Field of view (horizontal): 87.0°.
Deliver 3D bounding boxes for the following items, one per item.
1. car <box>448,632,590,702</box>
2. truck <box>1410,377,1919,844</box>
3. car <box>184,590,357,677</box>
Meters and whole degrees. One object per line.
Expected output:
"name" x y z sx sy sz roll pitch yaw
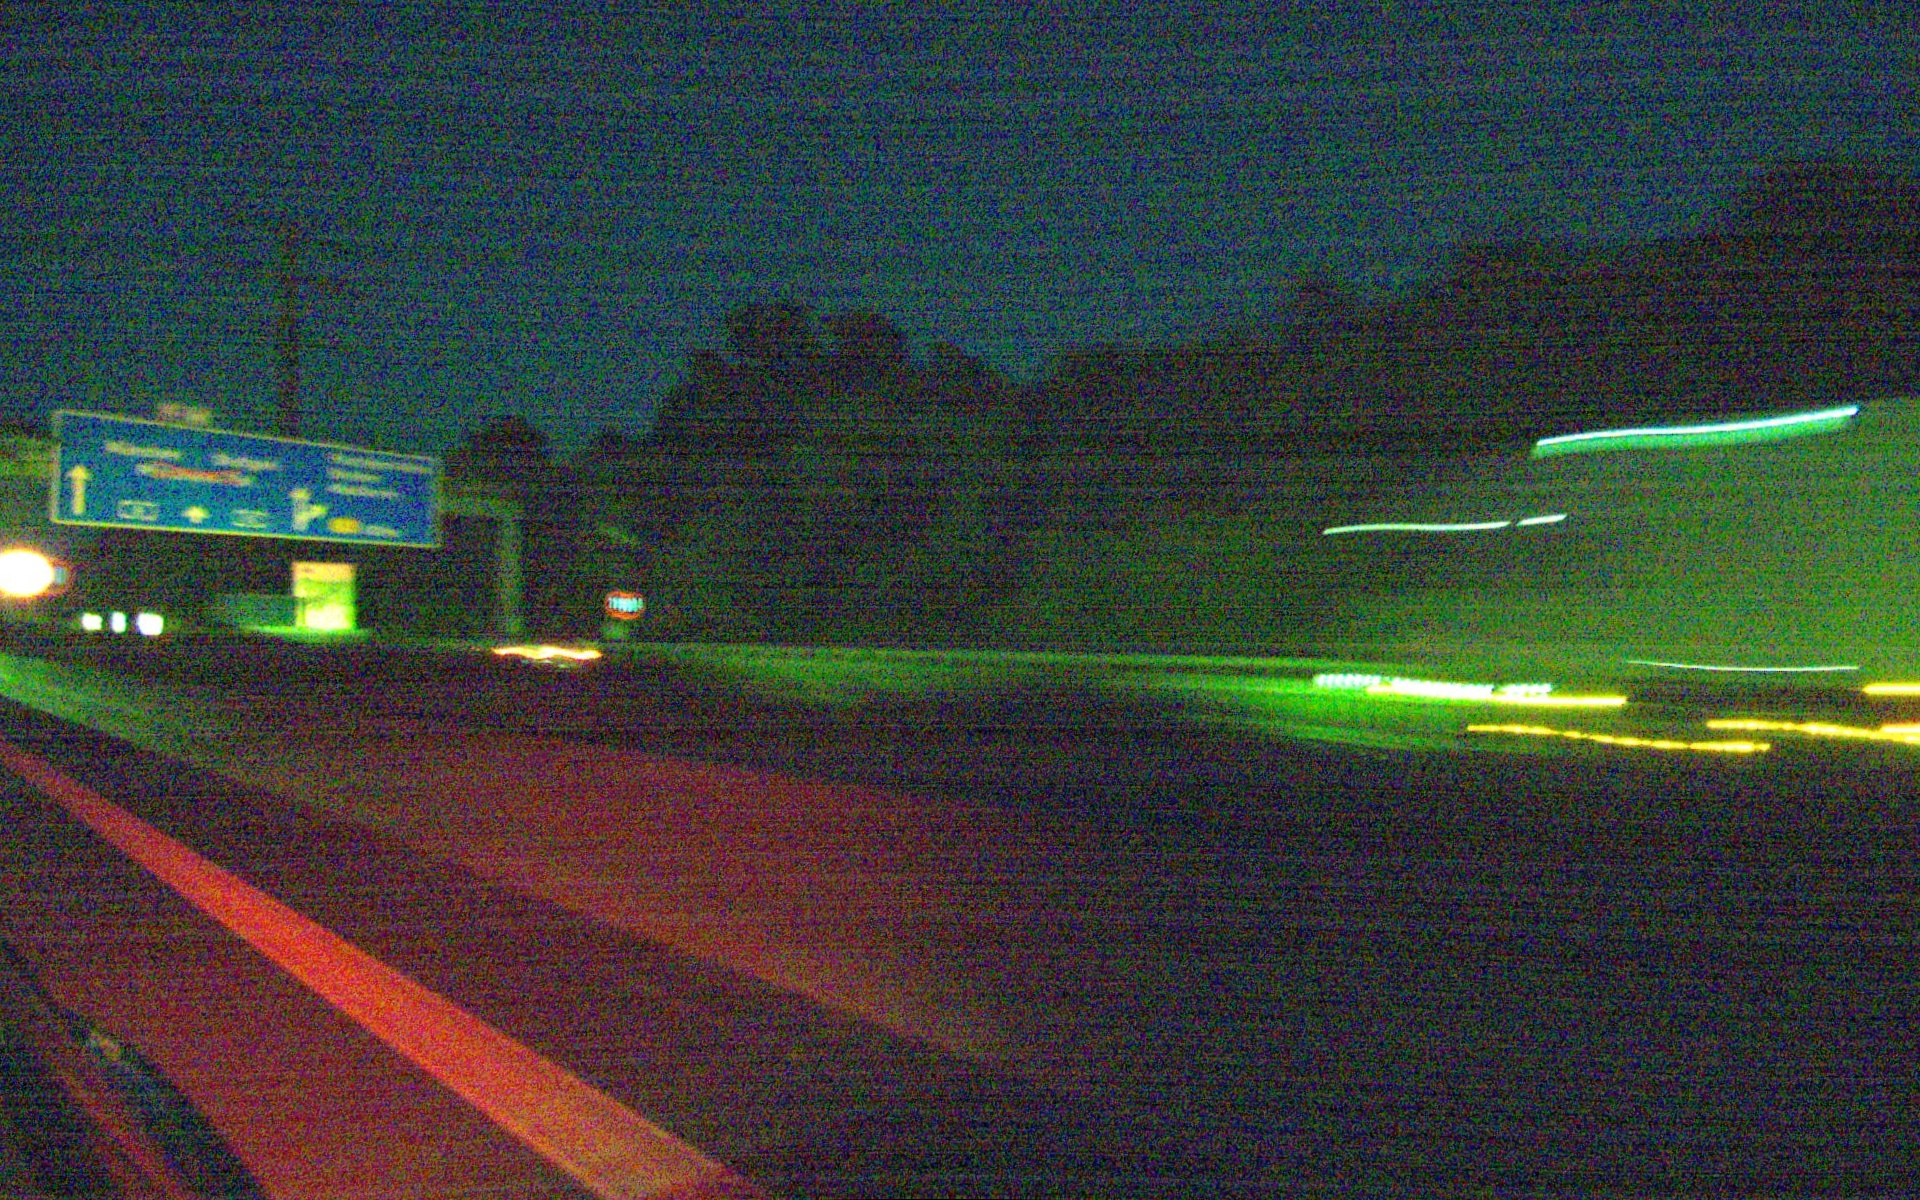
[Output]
"car" -12.627 1.887 28.842 4.496 1.774 1.880 -3 -1 40
"truck" 13.389 -0.083 8.319 17.430 4.523 3.213 -3 -1 42
"car" -18.540 0.922 27.031 6.941 2.029 2.185 -3 -1 42
